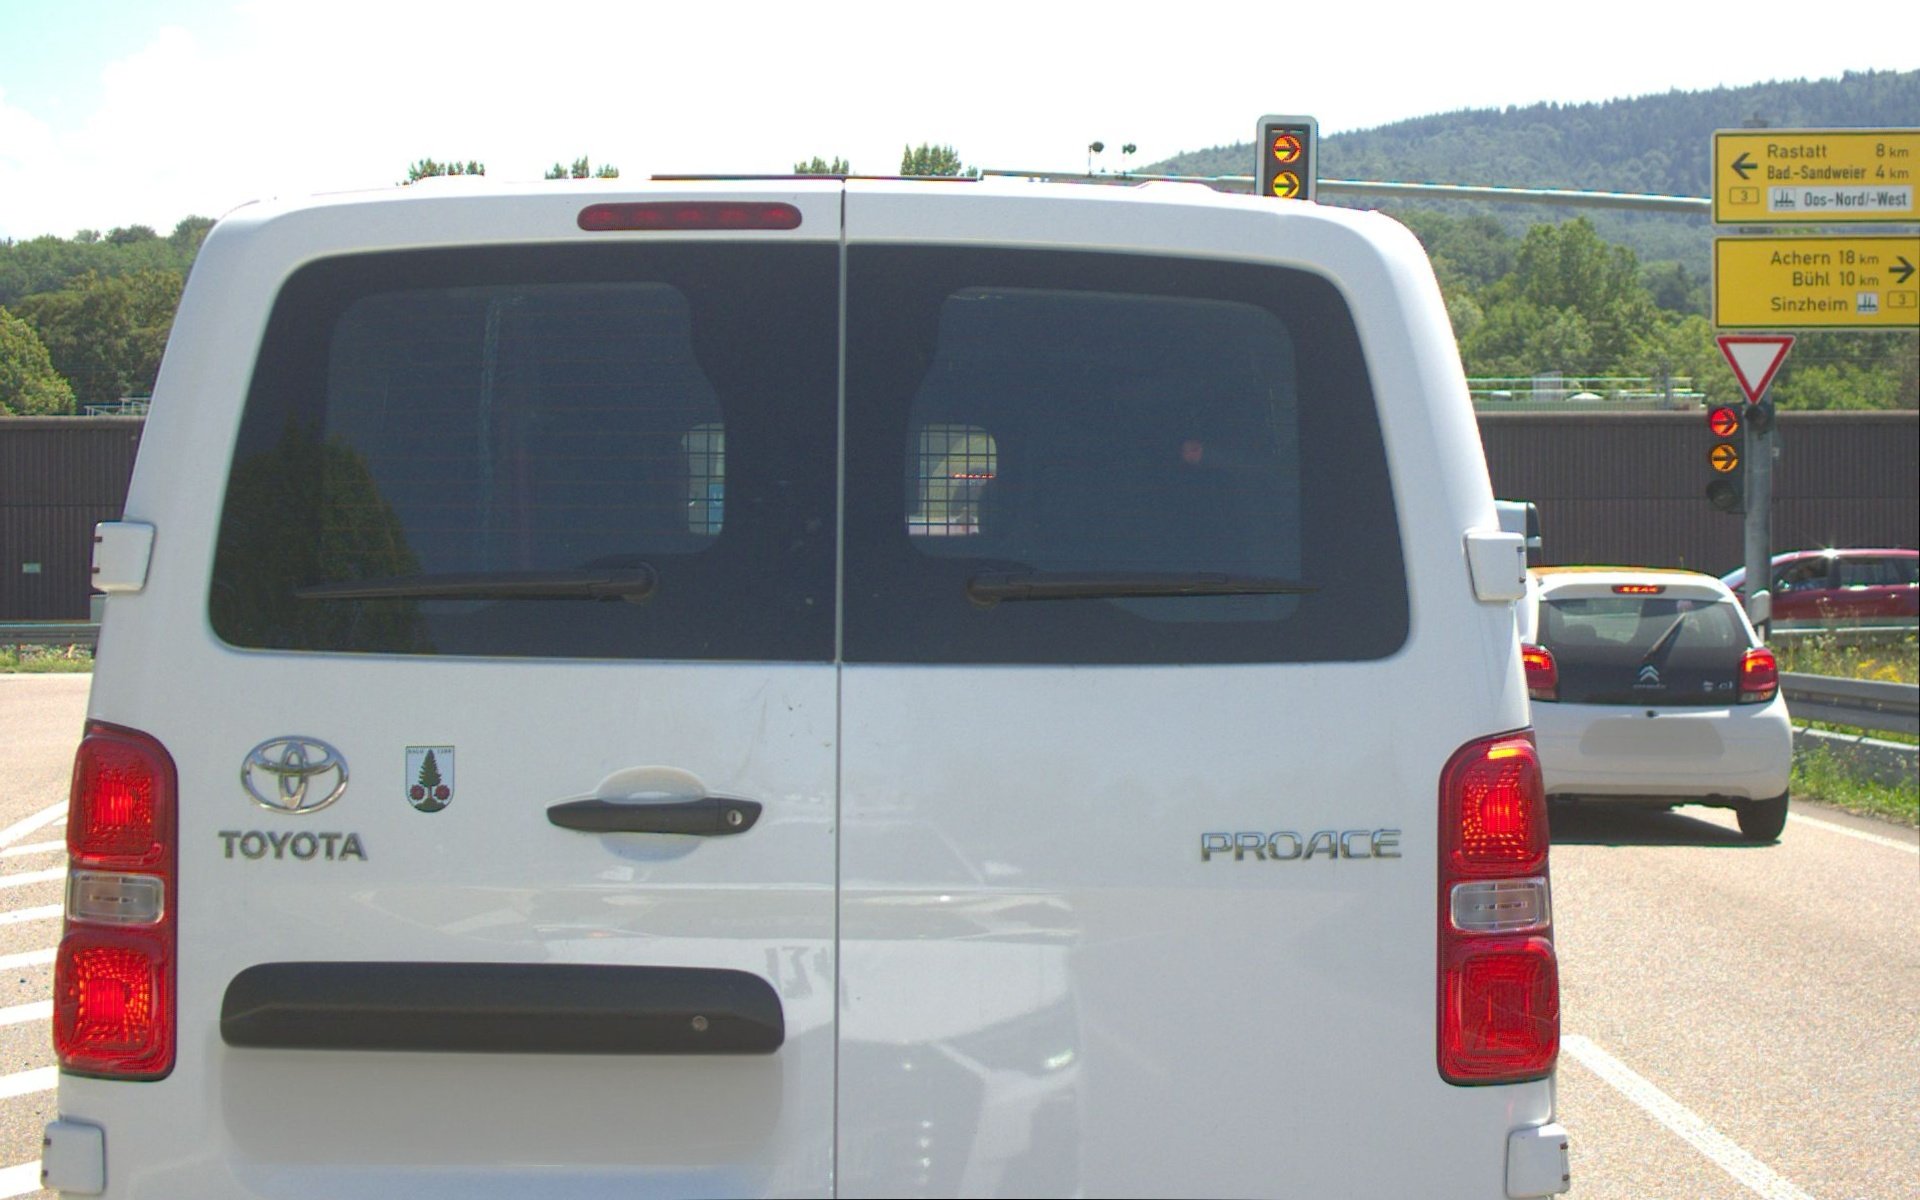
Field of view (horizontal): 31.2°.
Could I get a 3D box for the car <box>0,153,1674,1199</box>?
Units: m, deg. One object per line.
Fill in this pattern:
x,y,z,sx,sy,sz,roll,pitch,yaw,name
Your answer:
-0.220,0.447,5.720,1.886,1.880,4.000,1,1,-1,car

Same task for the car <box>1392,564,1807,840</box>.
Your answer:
3.552,0.516,19.638,1.656,1.426,3.366,1,1,-1,car

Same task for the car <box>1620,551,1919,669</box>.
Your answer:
11.952,0.132,49.817,4.309,1.651,2.000,0,1,-3,car

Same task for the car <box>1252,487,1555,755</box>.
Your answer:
3.530,0.131,28.193,1.928,1.993,4.837,1,1,1,car
